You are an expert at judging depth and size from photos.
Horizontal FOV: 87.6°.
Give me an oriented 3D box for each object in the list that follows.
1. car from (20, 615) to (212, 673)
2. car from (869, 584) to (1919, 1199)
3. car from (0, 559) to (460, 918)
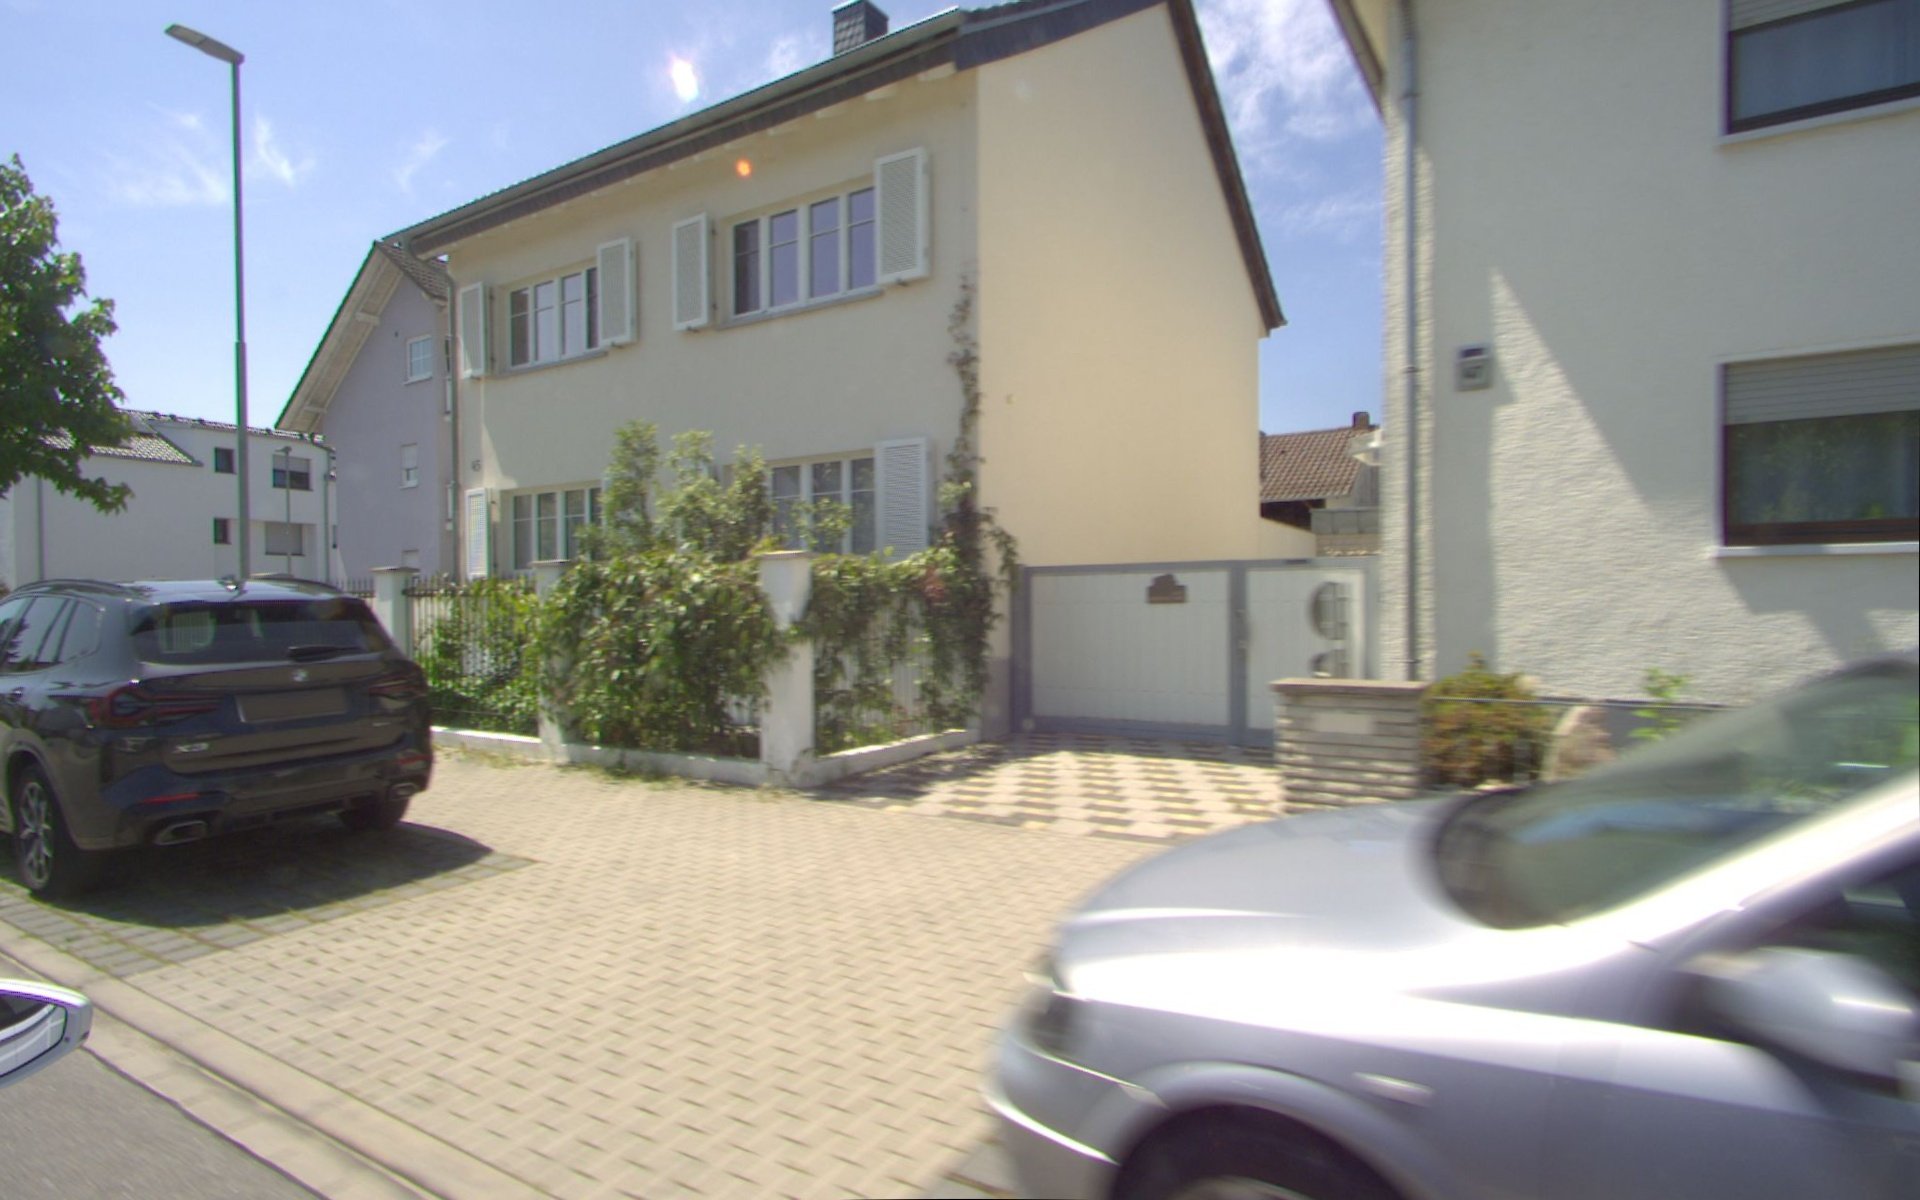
[{"bbox_3d":[-24.332,1.200,28.976,1.734,1.487,3.975,0,0,38],"label":"car"},{"bbox_3d":[1.984,0.696,1.732,4.035,1.439,1.810,0,0,33],"label":"car"},{"bbox_3d":[-5.464,0.638,6.677,4.500,1.678,1.810,0,1,33],"label":"car"}]
